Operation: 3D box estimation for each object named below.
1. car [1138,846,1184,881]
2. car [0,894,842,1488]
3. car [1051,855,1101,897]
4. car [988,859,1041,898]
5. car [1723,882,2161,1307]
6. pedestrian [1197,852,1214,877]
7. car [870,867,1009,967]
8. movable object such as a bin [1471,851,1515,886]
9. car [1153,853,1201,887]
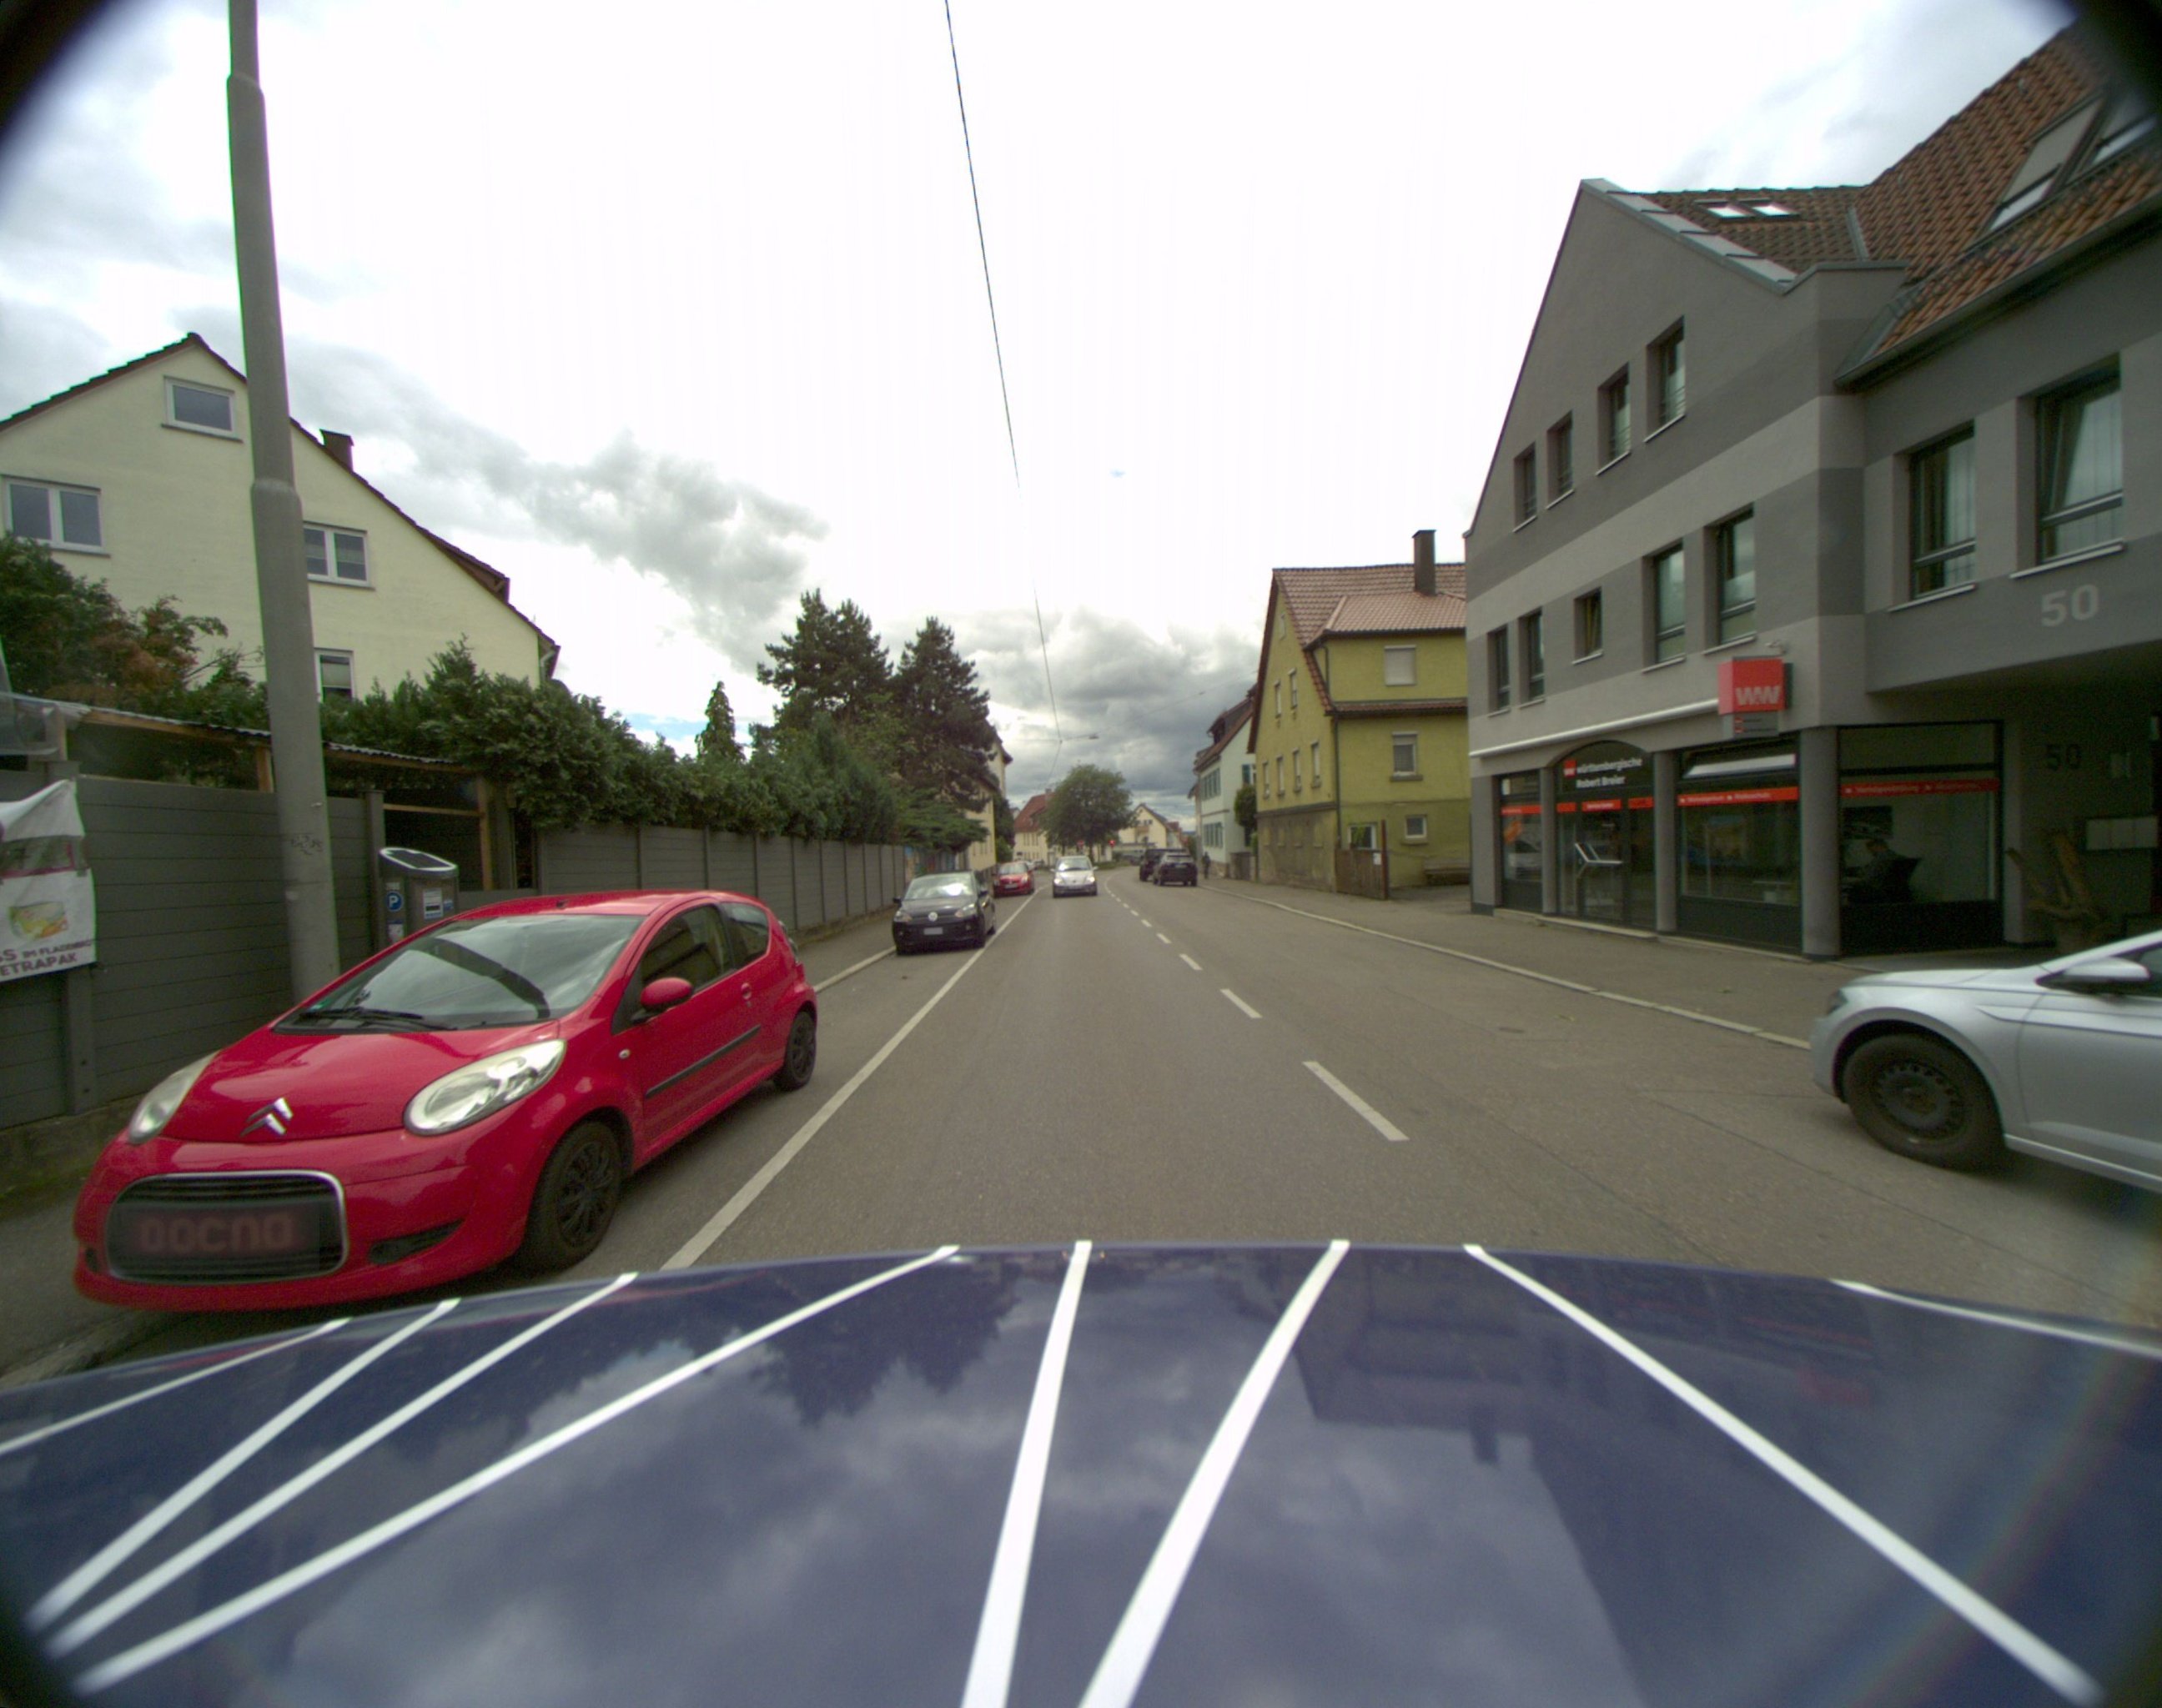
[{"bbox_3d":[4.533,0.527,43.635,2.112,1.838,4.351,-1,0,-1],"label":"car"},{"bbox_3d":[-2.854,1.089,4.190,1.719,1.472,4.000,-2,0,1],"label":"car"},{"bbox_3d":[-0.212,0.837,30.733,1.858,1.547,4.351,-1,0,-1],"label":"car"},{"bbox_3d":[-2.944,1.054,34.683,1.995,1.490,4.351,-4,0,-1],"label":"car"},{"bbox_3d":[4.820,0.925,2.399,1.782,1.465,4.351,2,0,-2],"label":"car"},{"bbox_3d":[7.015,0.600,42.684,0.832,1.368,0.551,-2,1,0],"label":"pedestrian"},{"bbox_3d":[-2.613,1.110,14.993,1.819,1.472,4.000,-5,0,1],"label":"car"},{"bbox_3d":[13.060,0.457,24.103,0.926,1.066,0.839,-2,1,1],"label":"movable object such as a bin"},{"bbox_3d":[4.677,0.744,37.509,1.718,1.559,4.351,-1,0,-1],"label":"car"}]
